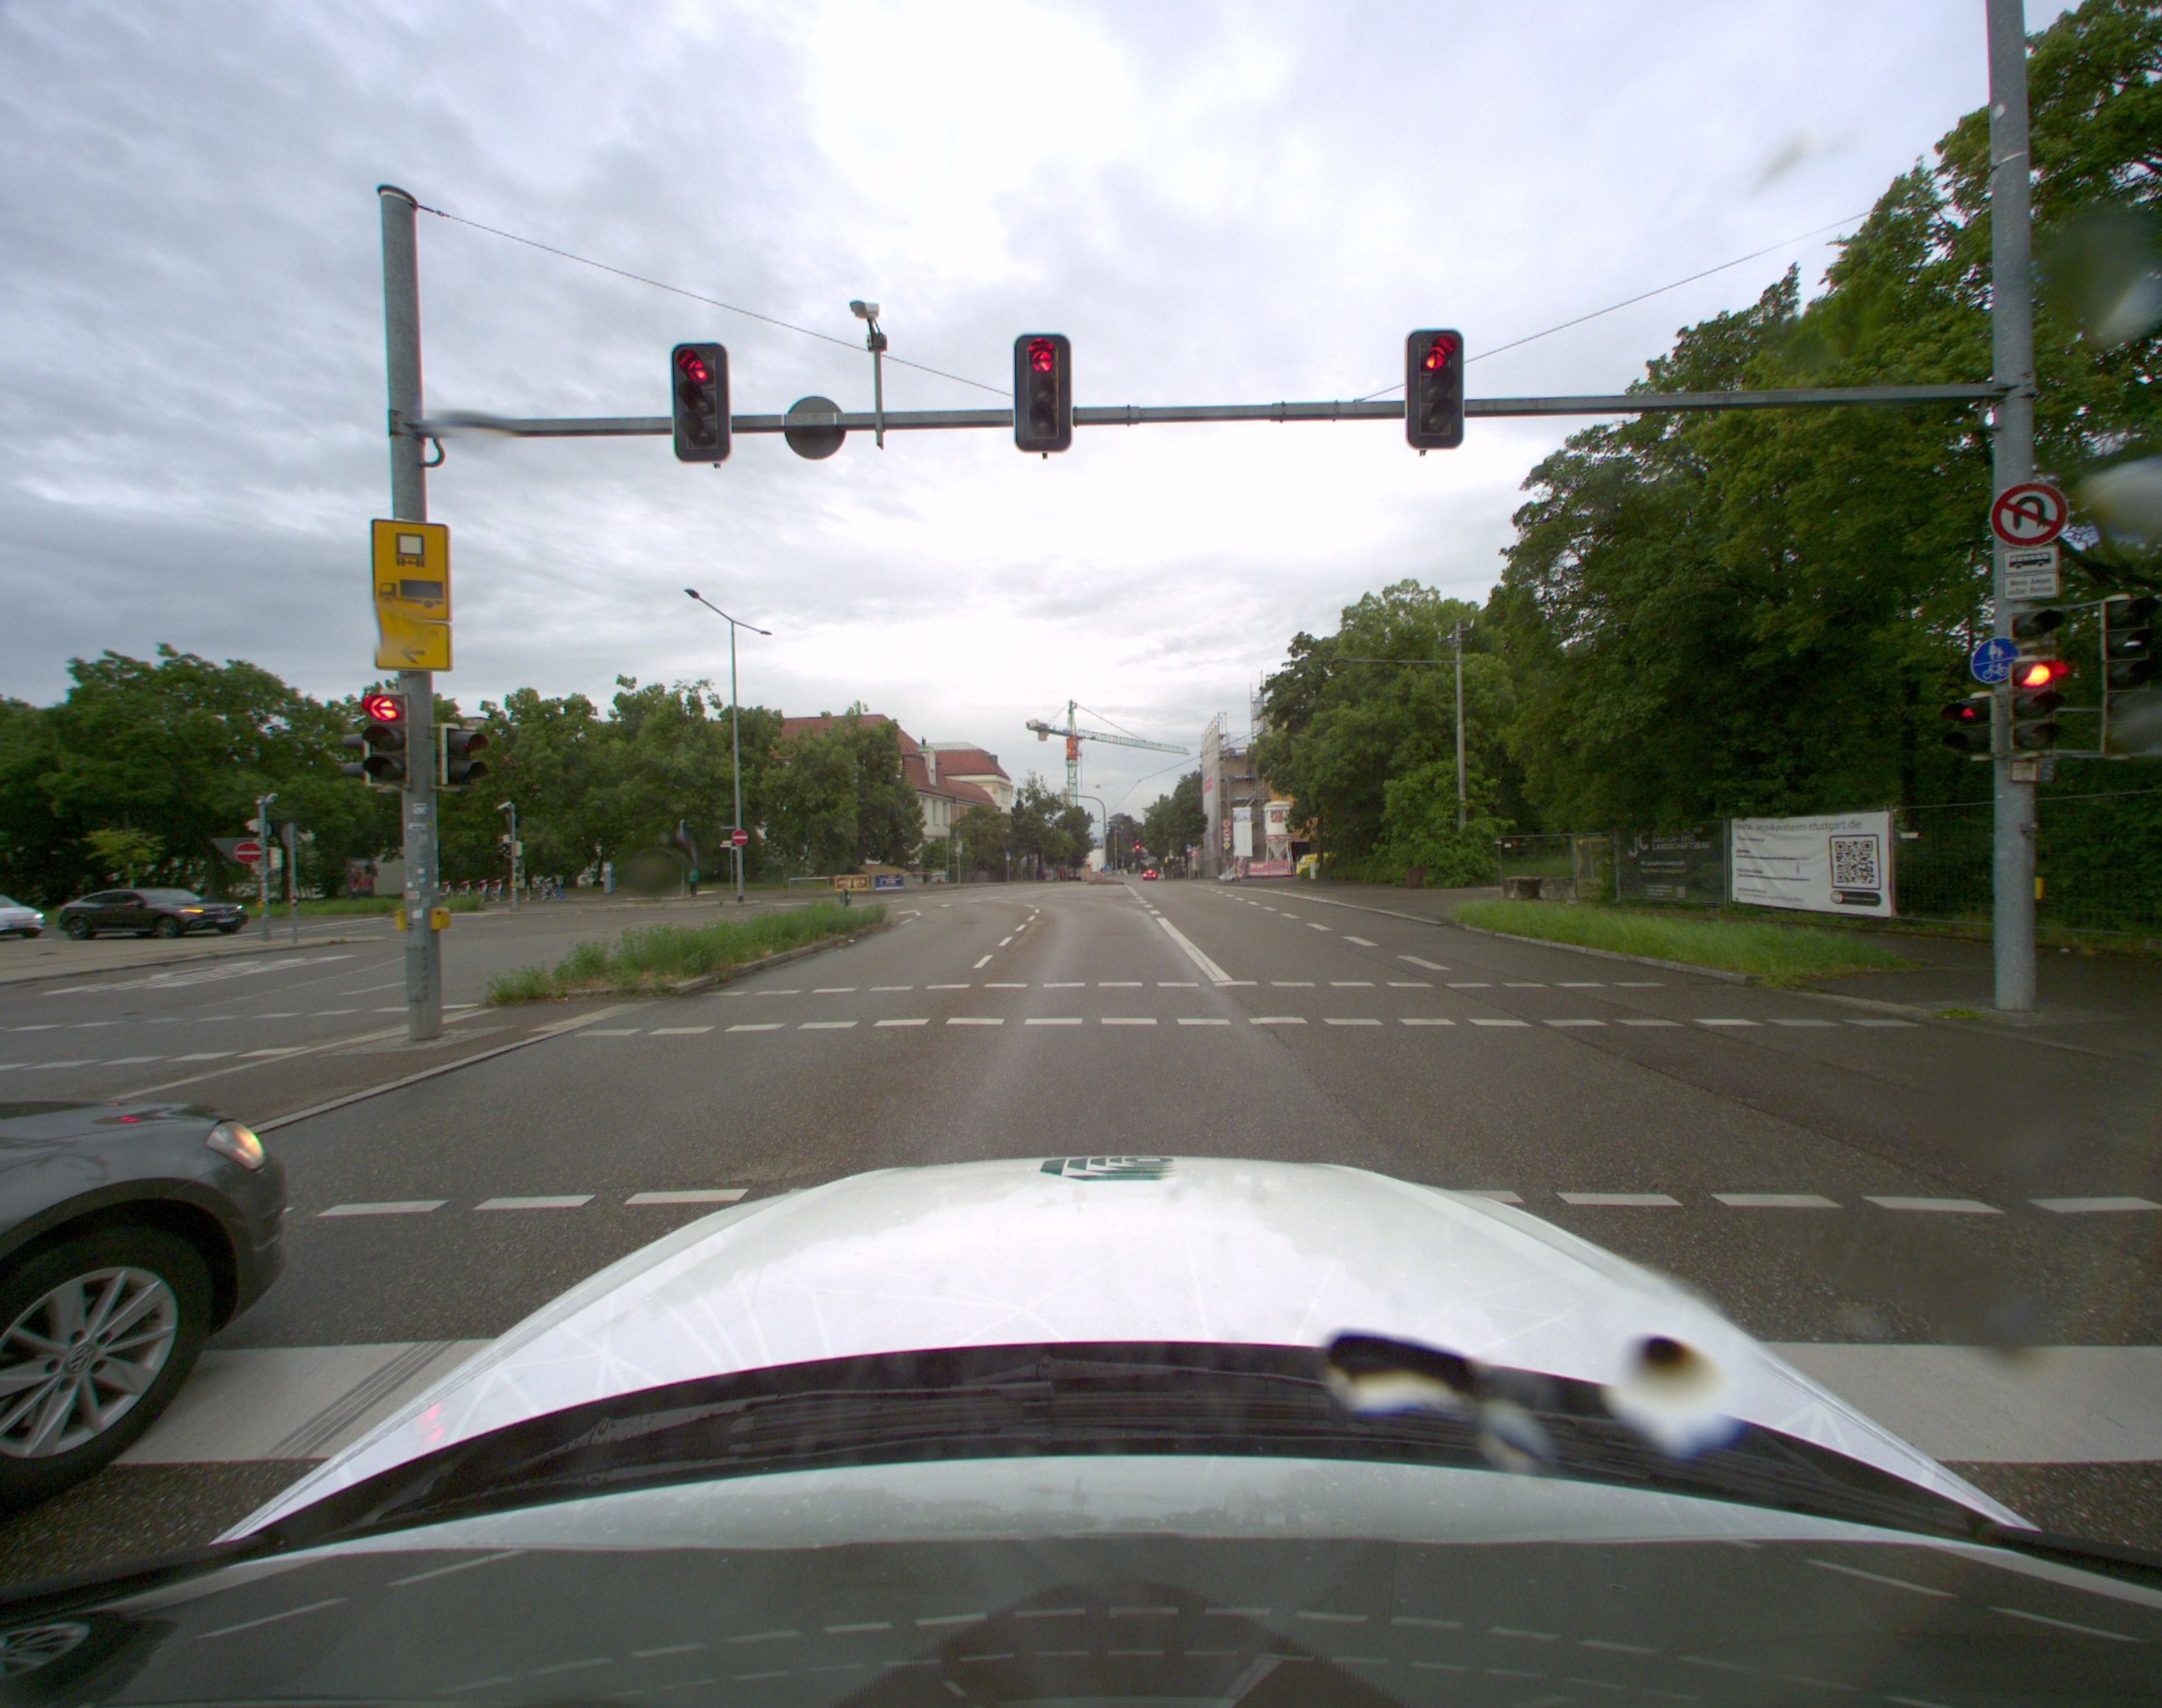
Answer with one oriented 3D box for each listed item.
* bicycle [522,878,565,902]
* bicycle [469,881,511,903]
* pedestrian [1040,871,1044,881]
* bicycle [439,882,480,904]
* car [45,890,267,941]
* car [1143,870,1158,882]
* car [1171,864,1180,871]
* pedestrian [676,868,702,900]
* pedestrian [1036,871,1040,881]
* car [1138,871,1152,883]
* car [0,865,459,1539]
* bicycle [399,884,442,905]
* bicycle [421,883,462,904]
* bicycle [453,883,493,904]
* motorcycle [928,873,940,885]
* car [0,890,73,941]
[{"bbox_3d":[-29.438,1.946,44.618,0.987,1.249,1.982,0,-1,2],"label":"bicycle"},{"bbox_3d":[-32.272,2.066,44.509,0.798,1.071,1.982,0,-1,2],"label":"bicycle"},{"bbox_3d":[-5.323,2.960,110.726,0.473,1.396,0.411,-2,-1,1],"label":"pedestrian"},{"bbox_3d":[-33.911,2.113,44.453,0.649,1.071,1.982,0,-1,2],"label":"bicycle"},{"bbox_3d":[-30.078,1.984,26.588,5.006,1.500,2.001,0,-1,1],"label":"car"},{"bbox_3d":[10.450,3.346,123.375,1.986,1.750,4.001,-2,0,1],"label":"car"},{"bbox_3d":[25.387,3.507,218.967,1.980,1.750,4.014,-2,0,13],"label":"car"},{"bbox_3d":[-21.618,1.630,44.899,0.918,1.727,0.947,0,-1,5],"label":"pedestrian"},{"bbox_3d":[-5.888,3.027,110.782,0.473,1.396,0.411,-2,-1,1],"label":"pedestrian"},{"bbox_3d":[10.200,3.659,130.932,1.986,1.750,4.001,-2,0,1],"label":"car"},{"bbox_3d":[-3.371,0.803,0.906,1.808,1.481,4.380,-2,0,3],"label":"car"},{"bbox_3d":[-35.967,2.176,44.369,0.649,1.071,1.982,0,-1,2],"label":"bicycle"},{"bbox_3d":[-34.990,2.141,44.584,0.649,1.071,1.982,0,-1,2],"label":"bicycle"},{"bbox_3d":[-33.021,2.117,44.278,0.649,1.071,1.982,0,-1,2],"label":"bicycle"},{"bbox_3d":[-11.786,2.004,65.312,0.846,0.877,0.877,0,-1,1],"label":"motorcycle"},{"bbox_3d":[-36.499,2.036,27.053,3.539,1.594,2.001,0,-1,1],"label":"car"}]
